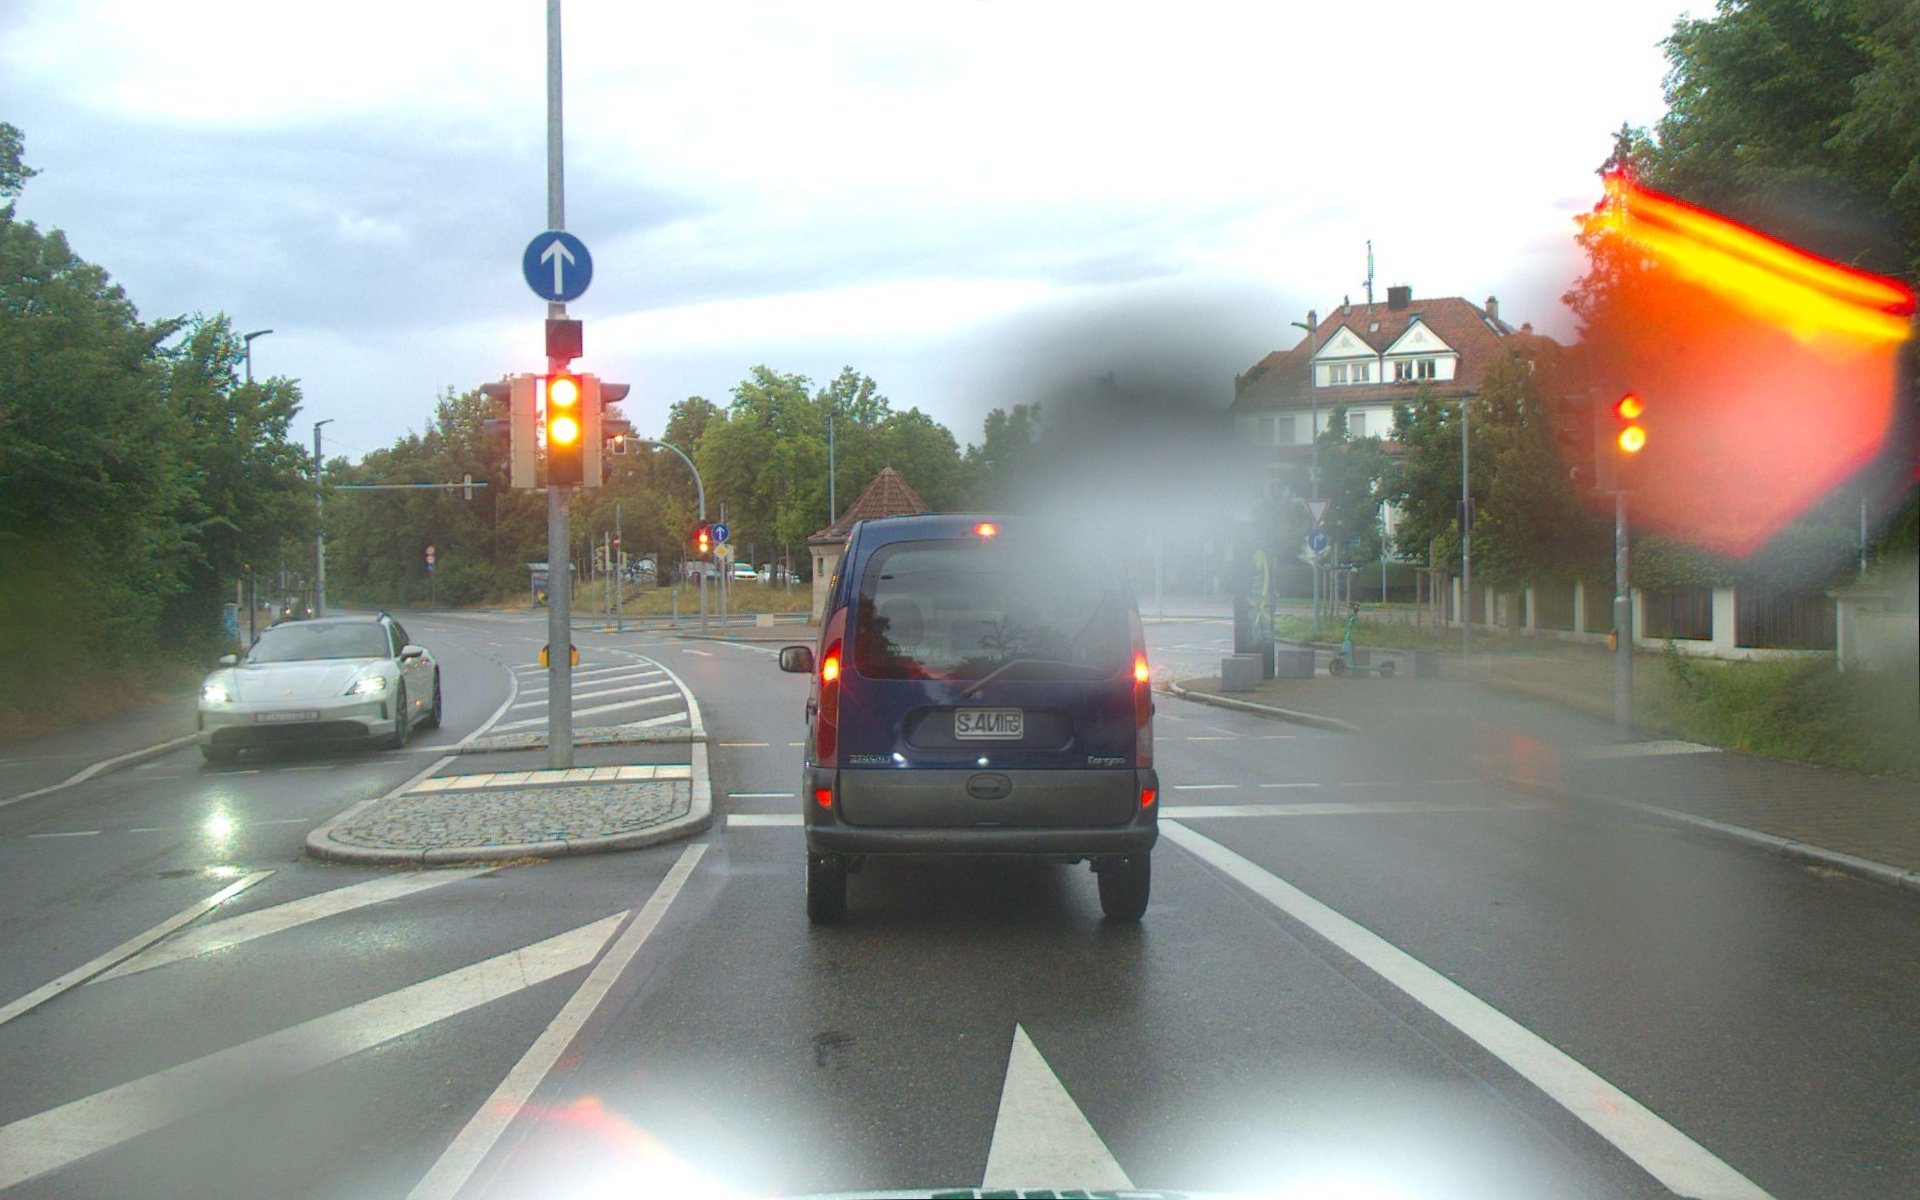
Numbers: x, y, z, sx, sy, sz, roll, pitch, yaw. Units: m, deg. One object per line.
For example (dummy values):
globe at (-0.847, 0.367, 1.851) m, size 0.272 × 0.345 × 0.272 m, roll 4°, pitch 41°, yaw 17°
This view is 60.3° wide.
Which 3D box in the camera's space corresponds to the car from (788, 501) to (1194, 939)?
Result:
car at (0.043, 0.483, 8.909) m, size 1.697 × 1.817 × 3.998 m, roll 0°, pitch 0°, yaw -3°

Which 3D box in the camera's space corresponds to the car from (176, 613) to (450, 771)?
car at (-6.923, 0.897, 18.186) m, size 1.958 × 1.334 × 4.348 m, roll -3°, pitch 1°, yaw -11°

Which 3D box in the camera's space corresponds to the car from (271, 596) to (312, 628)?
car at (-43.107, 0.767, 106.602) m, size 1.972 × 2.049 × 3.961 m, roll 0°, pitch -1°, yaw -29°

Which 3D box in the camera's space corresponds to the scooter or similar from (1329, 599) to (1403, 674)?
scooter or similar at (6.839, 0.608, 27.864) m, size 1.125 × 1.240 × 0.405 m, roll -1°, pitch -1°, yaw -2°

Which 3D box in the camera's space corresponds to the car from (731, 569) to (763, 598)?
car at (-14.110, -1.105, 109.635) m, size 1.955 × 1.844 × 3.996 m, roll 0°, pitch -1°, yaw -5°
